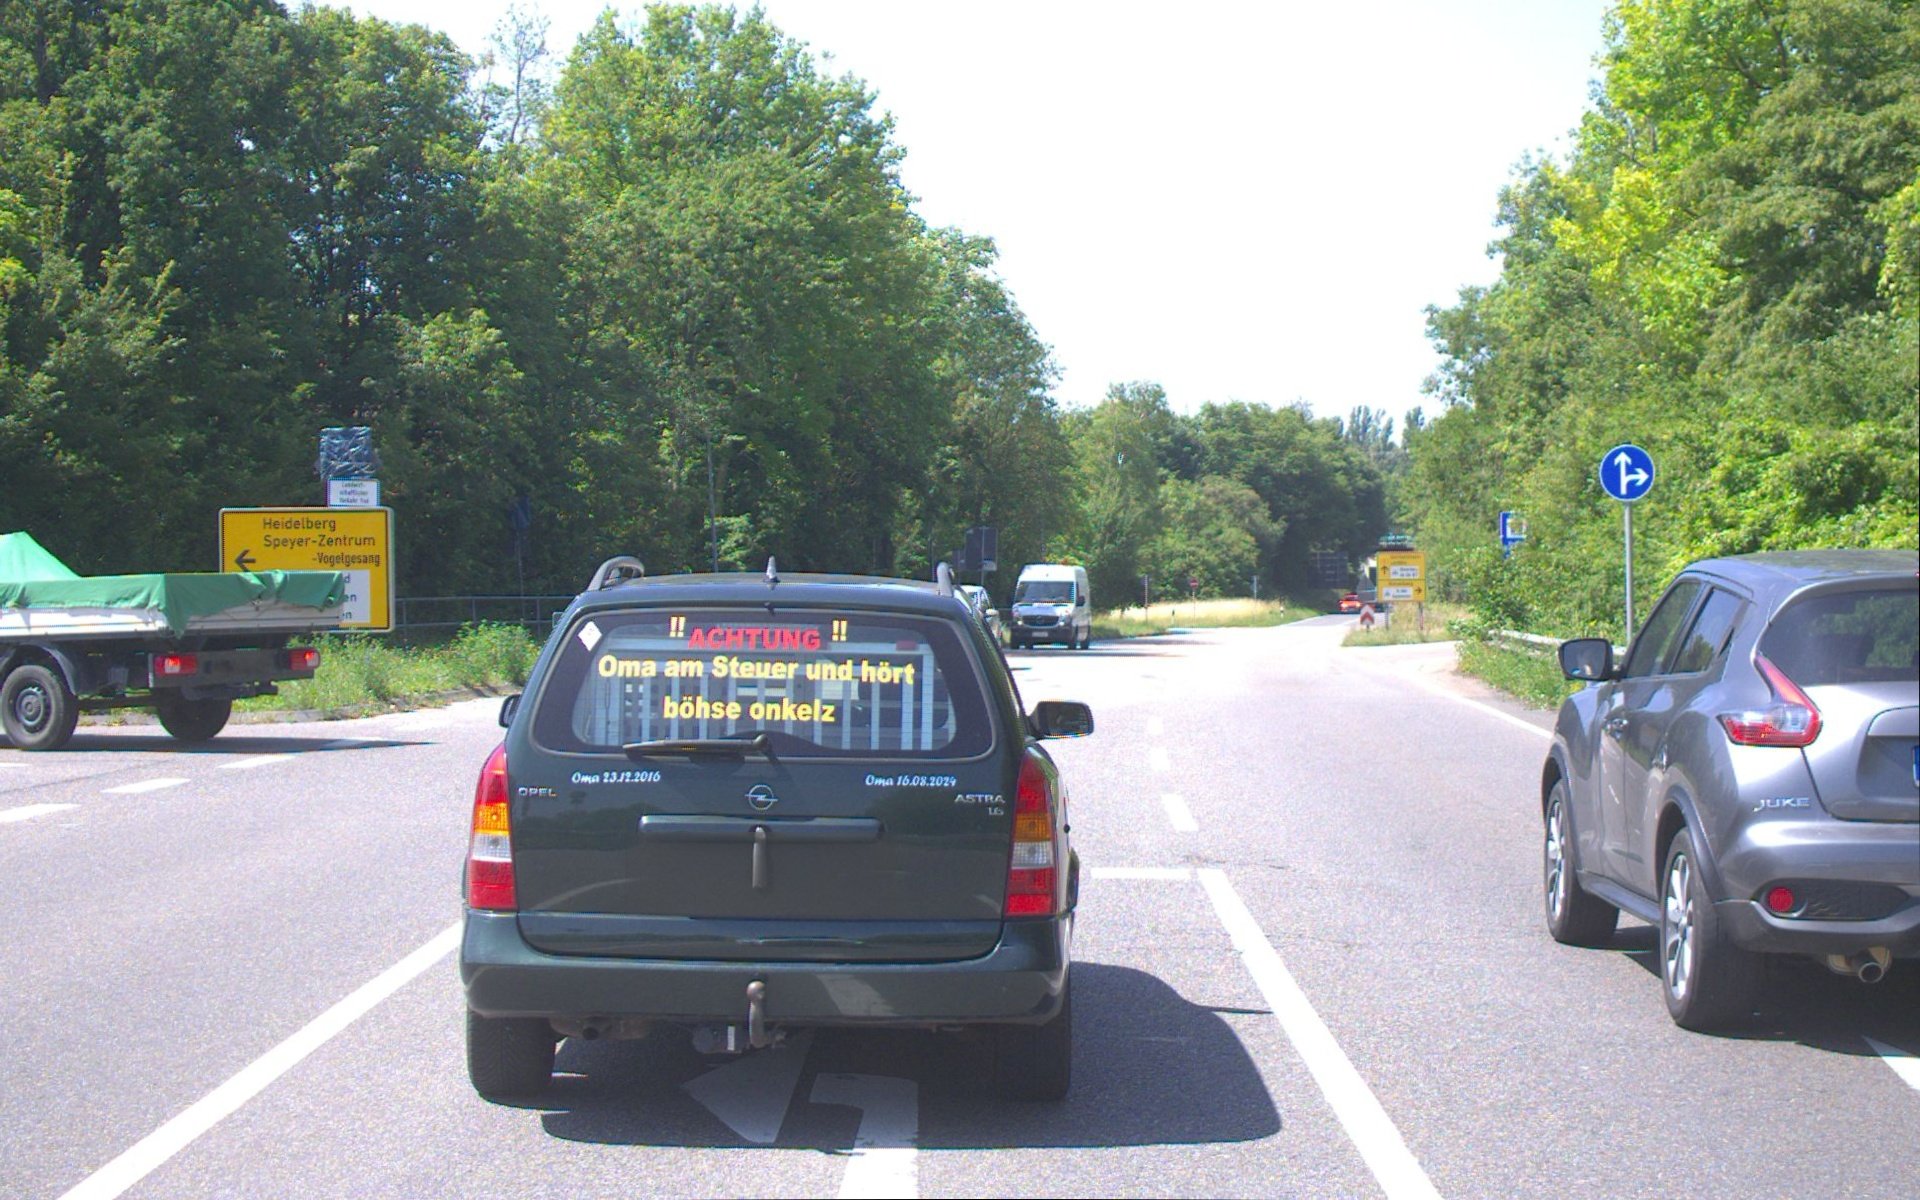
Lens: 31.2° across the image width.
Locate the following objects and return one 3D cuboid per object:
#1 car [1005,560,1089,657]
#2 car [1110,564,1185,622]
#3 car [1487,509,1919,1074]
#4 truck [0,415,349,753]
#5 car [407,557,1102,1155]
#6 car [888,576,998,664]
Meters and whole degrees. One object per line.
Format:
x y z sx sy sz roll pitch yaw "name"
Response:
2.667 0.225 104.087 2.105 2.840 6.011 1 0 5 "car"
10.373 -0.409 190.617 1.993 3.215 4.809 0 1 -27 "car"
3.128 0.534 12.211 1.843 1.679 4.000 0 1 -1 "car"
-8.341 -0.116 28.637 6.628 2.556 2.142 0 0 31 "truck"
-0.506 0.615 10.476 1.720 1.452 3.797 1 1 0 "car"
-0.257 0.315 58.029 1.644 1.414 3.766 1 0 3 "car"
